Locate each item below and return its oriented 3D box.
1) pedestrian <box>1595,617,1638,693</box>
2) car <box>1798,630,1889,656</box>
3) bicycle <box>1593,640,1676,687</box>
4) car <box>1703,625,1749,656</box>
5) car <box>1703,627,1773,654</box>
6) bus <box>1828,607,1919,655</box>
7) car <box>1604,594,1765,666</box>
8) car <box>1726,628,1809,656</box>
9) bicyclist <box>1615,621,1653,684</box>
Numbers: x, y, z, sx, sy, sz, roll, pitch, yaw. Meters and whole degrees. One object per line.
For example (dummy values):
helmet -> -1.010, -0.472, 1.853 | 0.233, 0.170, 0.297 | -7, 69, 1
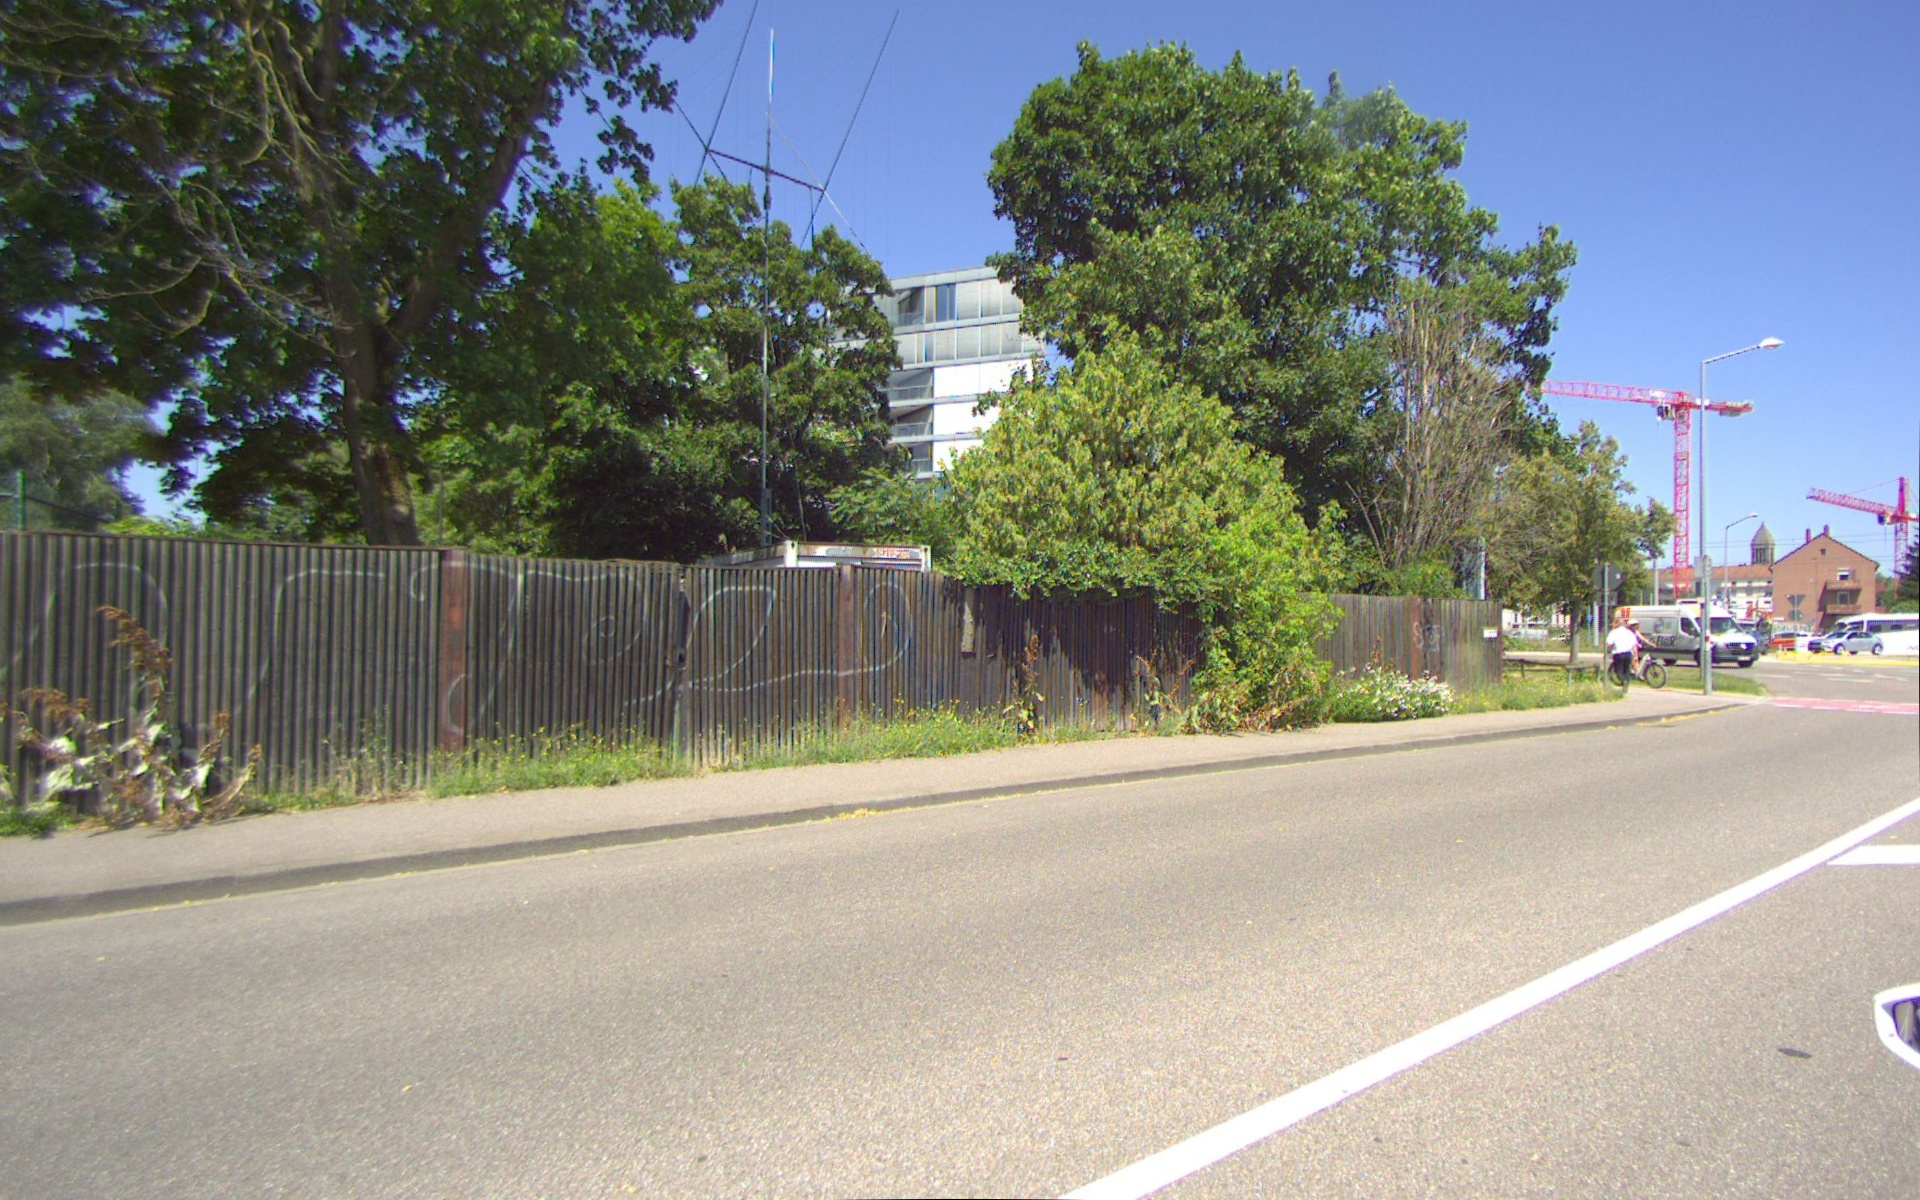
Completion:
pedestrian -> 16.203, 1.348, 24.810 | 0.625, 1.810, 0.969 | 2, 0, 20
car -> 54.578, 2.654, 62.098 | 4.189, 1.421, 1.732 | 2, 0, -3
bicycle -> 19.151, 1.780, 28.575 | 0.623, 1.237, 2.094 | 1, -1, -13
car -> 40.131, 2.110, 52.700 | 1.752, 1.547, 3.860 | -1, -2, 35
car -> 44.309, 2.319, 57.194 | 4.282, 1.390, 1.737 | 2, 0, -31
bus -> 66.164, 2.196, 70.762 | 7.135, 3.215, 2.260 | 2, 0, 22
car -> 31.537, 1.218, 44.099 | 1.961, 2.865, 6.883 | 2, 0, -1
car -> 57.618, 2.975, 71.766 | 4.365, 1.759, 1.845 | 2, 0, 30
bicyclist -> 19.173, 1.493, 28.579 | 0.582, 1.775, 0.671 | 1, -2, -12
